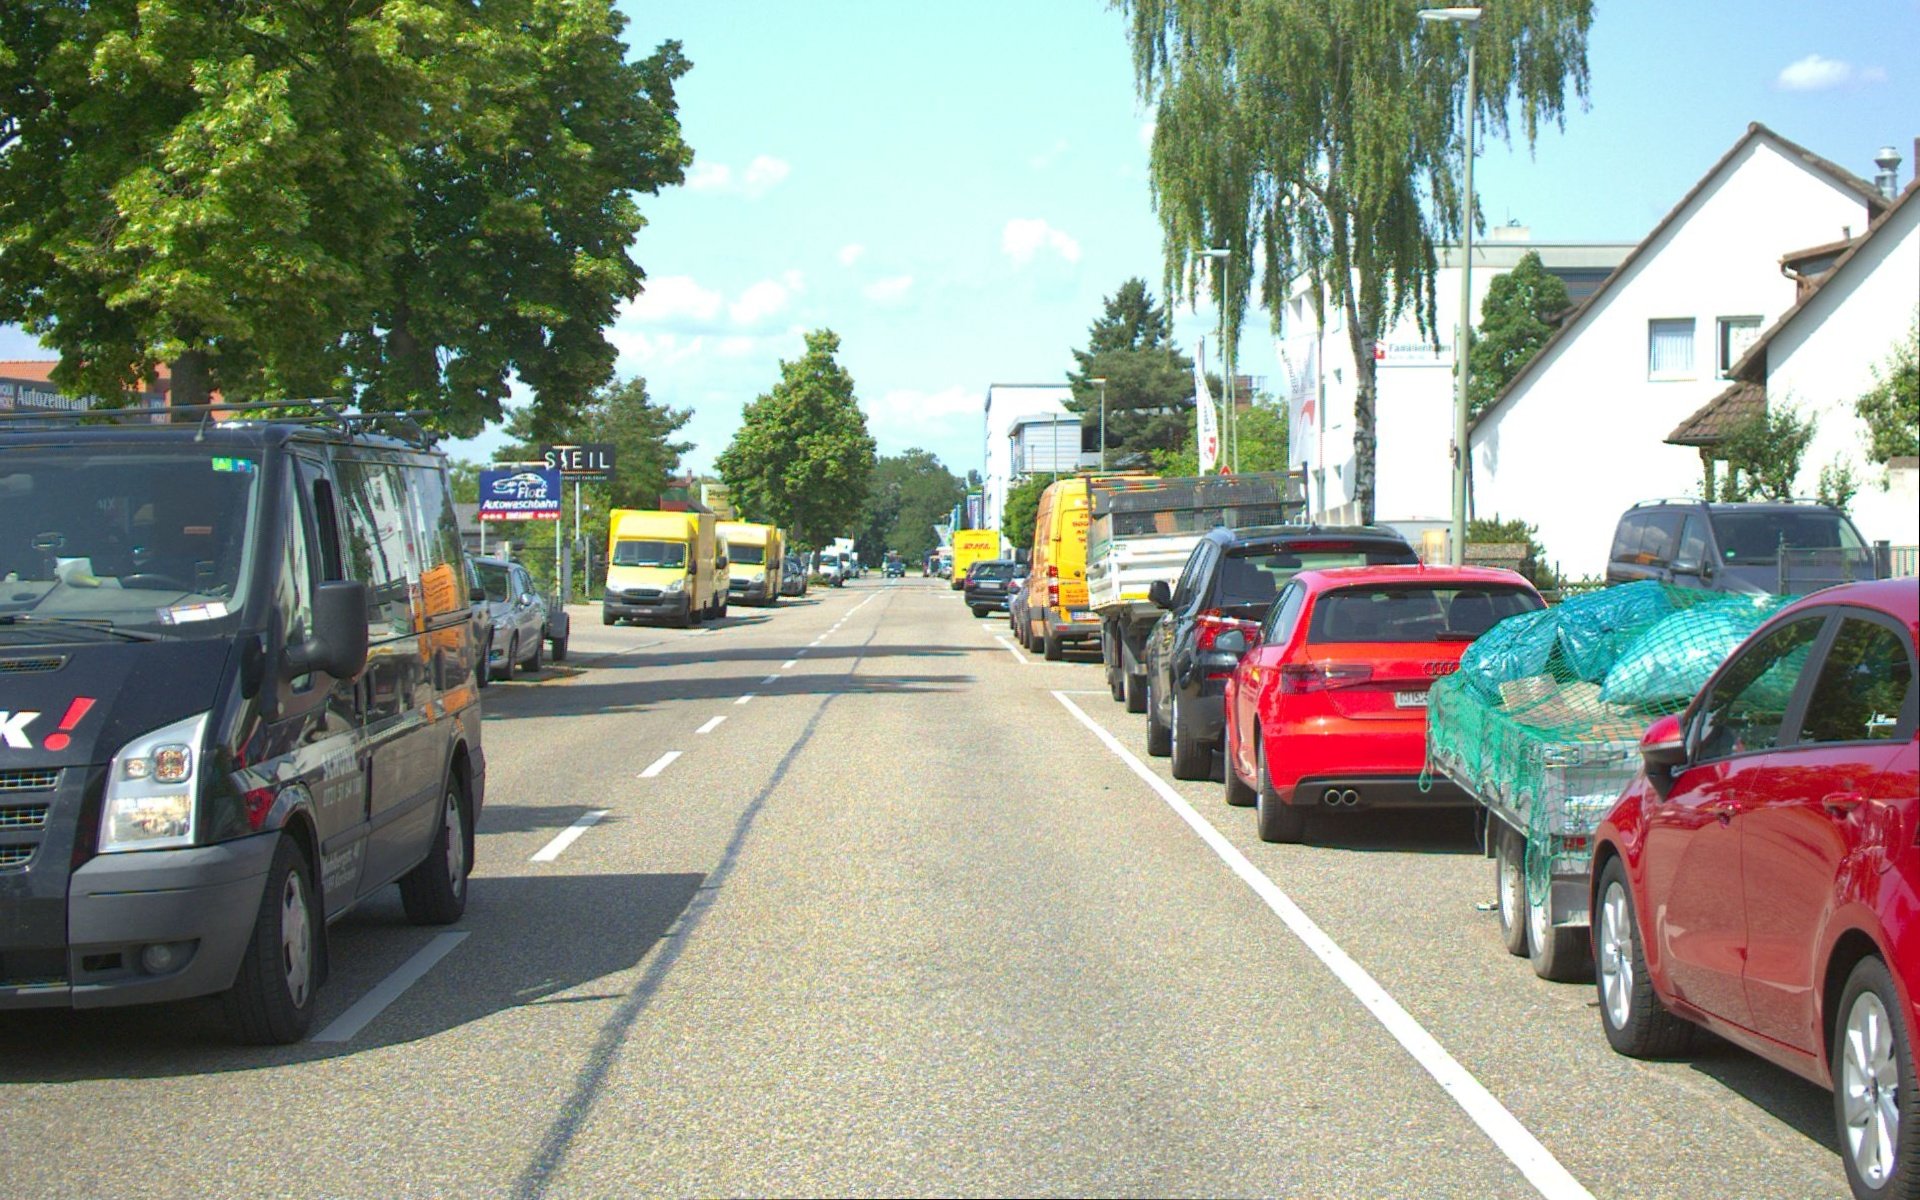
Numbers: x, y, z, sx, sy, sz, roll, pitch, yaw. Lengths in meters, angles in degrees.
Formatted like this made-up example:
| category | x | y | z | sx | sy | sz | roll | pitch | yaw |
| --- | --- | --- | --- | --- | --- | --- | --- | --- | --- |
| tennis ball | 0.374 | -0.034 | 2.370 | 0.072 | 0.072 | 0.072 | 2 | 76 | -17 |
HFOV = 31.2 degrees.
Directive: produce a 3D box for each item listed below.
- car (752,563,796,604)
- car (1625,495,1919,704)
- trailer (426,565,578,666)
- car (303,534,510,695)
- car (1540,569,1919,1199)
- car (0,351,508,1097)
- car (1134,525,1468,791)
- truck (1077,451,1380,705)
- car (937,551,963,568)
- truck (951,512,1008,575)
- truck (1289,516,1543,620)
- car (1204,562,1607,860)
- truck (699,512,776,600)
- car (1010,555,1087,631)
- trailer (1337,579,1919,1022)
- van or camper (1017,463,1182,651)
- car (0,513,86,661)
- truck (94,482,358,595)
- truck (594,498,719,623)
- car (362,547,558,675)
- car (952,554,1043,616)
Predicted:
| category | x | y | z | sx | sy | sz | roll | pitch | yaw |
| --- | --- | --- | --- | --- | --- | --- | --- | --- | --- |
| car | -7.860 | -0.702 | 145.437 | 1.724 | 1.598 | 4.415 | 3 | 1 | -2 |
| car | 8.052 | -0.043 | 33.197 | 1.856 | 1.859 | 5.022 | 0 | 1 | -5 |
| trailer | -6.642 | 0.194 | 50.250 | 1.761 | 1.285 | 4.508 | 3 | 1 | -3 |
| car | -6.323 | 0.120 | 39.687 | 1.693 | 1.694 | 4.401 | 2 | 1 | -1 |
| car | 2.778 | 0.671 | 8.513 | 1.691 | 1.458 | 4.756 | 0 | 1 | -2 |
| car | -2.935 | 0.324 | 12.008 | 2.051 | 2.027 | 5.142 | -2 | 1 | -1 |
| car | 2.246 | 0.331 | 23.760 | 1.830 | 1.656 | 4.554 | 0 | 1 | 0 |
| truck | 2.540 | -0.245 | 34.215 | 2.522 | 2.291 | 5.895 | 0 | 1 | 0 |
| car | -0.787 | -3.058 | 260.052 | 1.928 | 1.306 | 4.000 | 0 | 1 | -1 |
| truck | 0.917 | -2.726 | 167.364 | 2.474 | 2.930 | 7.189 | 1 | 1 | -2 |
| truck | 11.671 | -0.836 | 87.968 | 6.039 | 2.568 | 2.567 | 0 | 1 | -26 |
| car | 2.324 | 0.519 | 18.878 | 1.684 | 1.430 | 4.146 | 0 | 1 | 0 |
| truck | -7.545 | -1.470 | 117.163 | 2.269 | 2.845 | 7.175 | 1 | 0 | -1 |
| car | 1.922 | -0.185 | 75.164 | 1.610 | 1.575 | 4.000 | 1 | 1 | 1 |
| trailer | 2.549 | 0.629 | 13.210 | 1.608 | 1.373 | 4.433 | 0 | 1 | -1 |
| van or camper | 2.021 | -0.647 | 51.443 | 1.993 | 2.655 | 5.770 | 0 | 1 | -2 |
| car | -13.115 | -0.142 | 42.479 | 4.144 | 1.782 | 1.827 | 0 | 0 | 2 |
| truck | -20.247 | -1.713 | 94.950 | 6.601 | 2.840 | 2.527 | 2 | 1 | 12 |
| truck | -7.307 | -0.973 | 83.564 | 2.220 | 2.847 | 7.069 | 2 | 1 | 1 |
| car | -6.479 | 0.102 | 44.965 | 1.833 | 1.523 | 4.237 | 2 | 1 | 1 |
| car | 0.953 | -0.390 | 85.409 | 1.429 | 1.514 | 3.014 | 0 | 1 | 18 |
